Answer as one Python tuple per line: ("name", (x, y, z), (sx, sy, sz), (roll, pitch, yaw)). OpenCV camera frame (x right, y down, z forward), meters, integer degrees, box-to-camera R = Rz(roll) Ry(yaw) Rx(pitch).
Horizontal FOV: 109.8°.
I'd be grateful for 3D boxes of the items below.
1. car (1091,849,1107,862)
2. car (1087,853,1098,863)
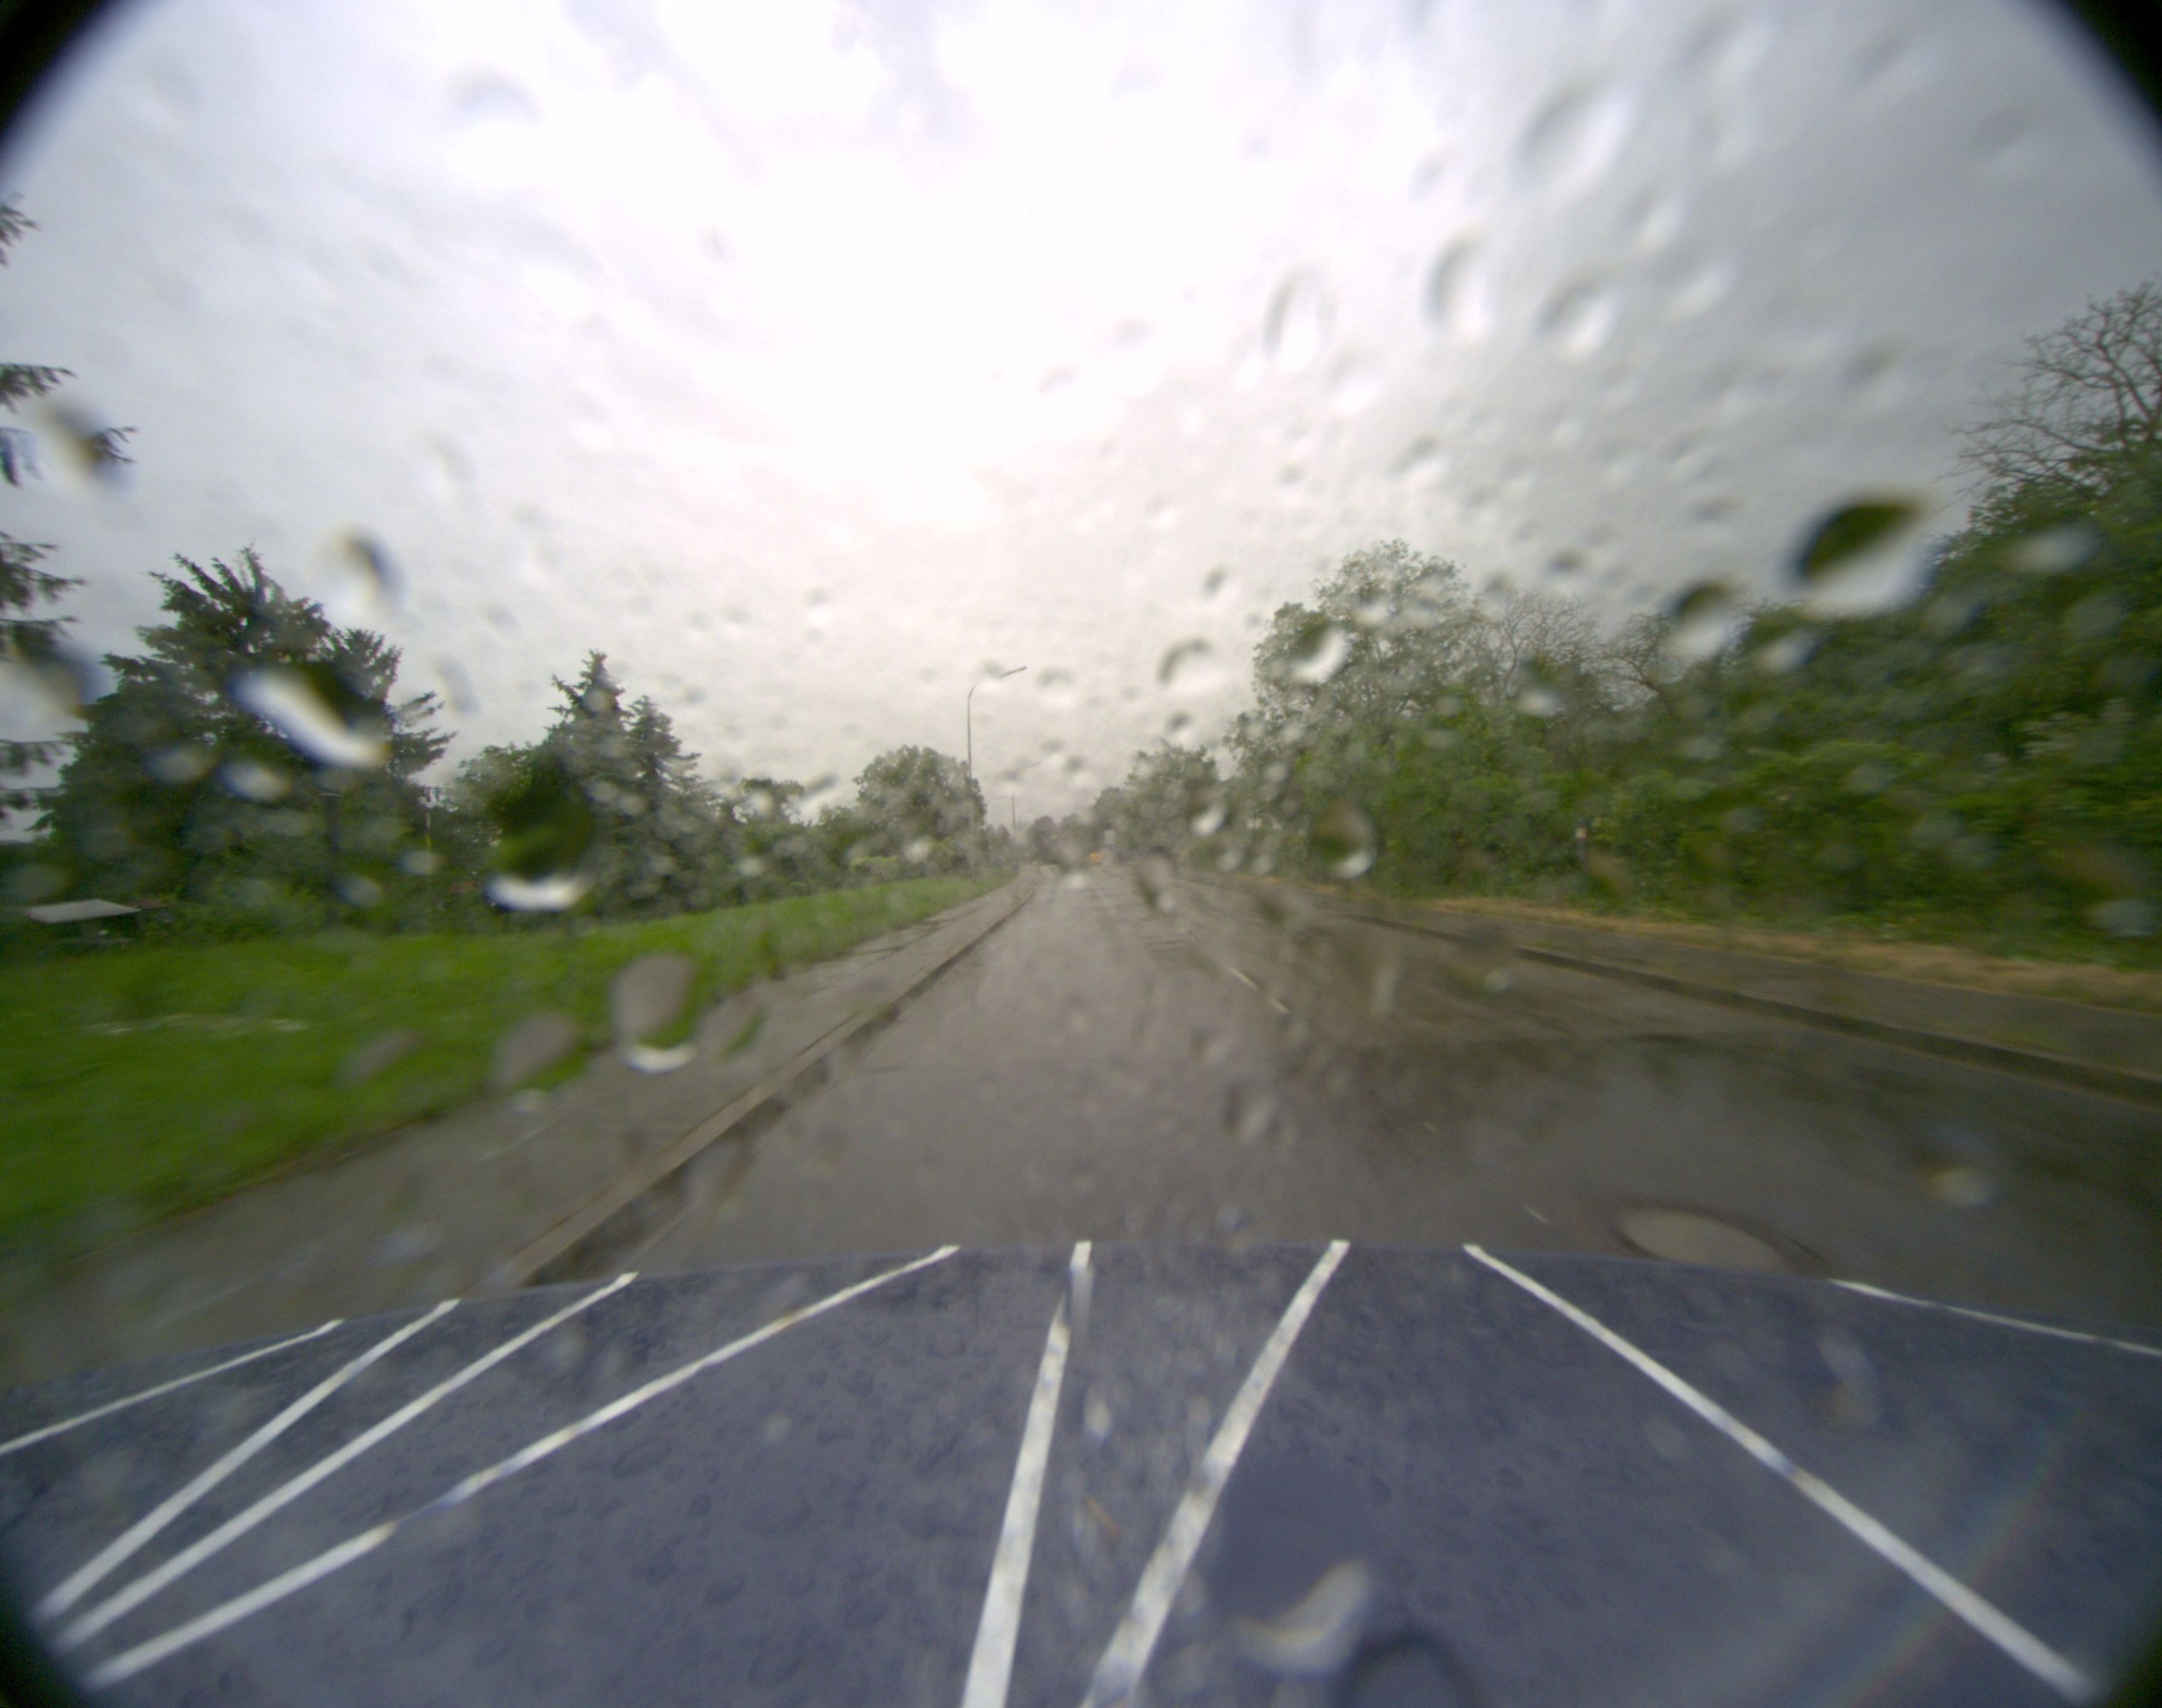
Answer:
("car", (2.675, 0.185, 114.520), (1.999, 1.865, 4.468), (-4, 0, -3))
("car", (1.981, 0.672, 132.991), (1.830, 1.543, 3.615), (-4, 0, -1))
